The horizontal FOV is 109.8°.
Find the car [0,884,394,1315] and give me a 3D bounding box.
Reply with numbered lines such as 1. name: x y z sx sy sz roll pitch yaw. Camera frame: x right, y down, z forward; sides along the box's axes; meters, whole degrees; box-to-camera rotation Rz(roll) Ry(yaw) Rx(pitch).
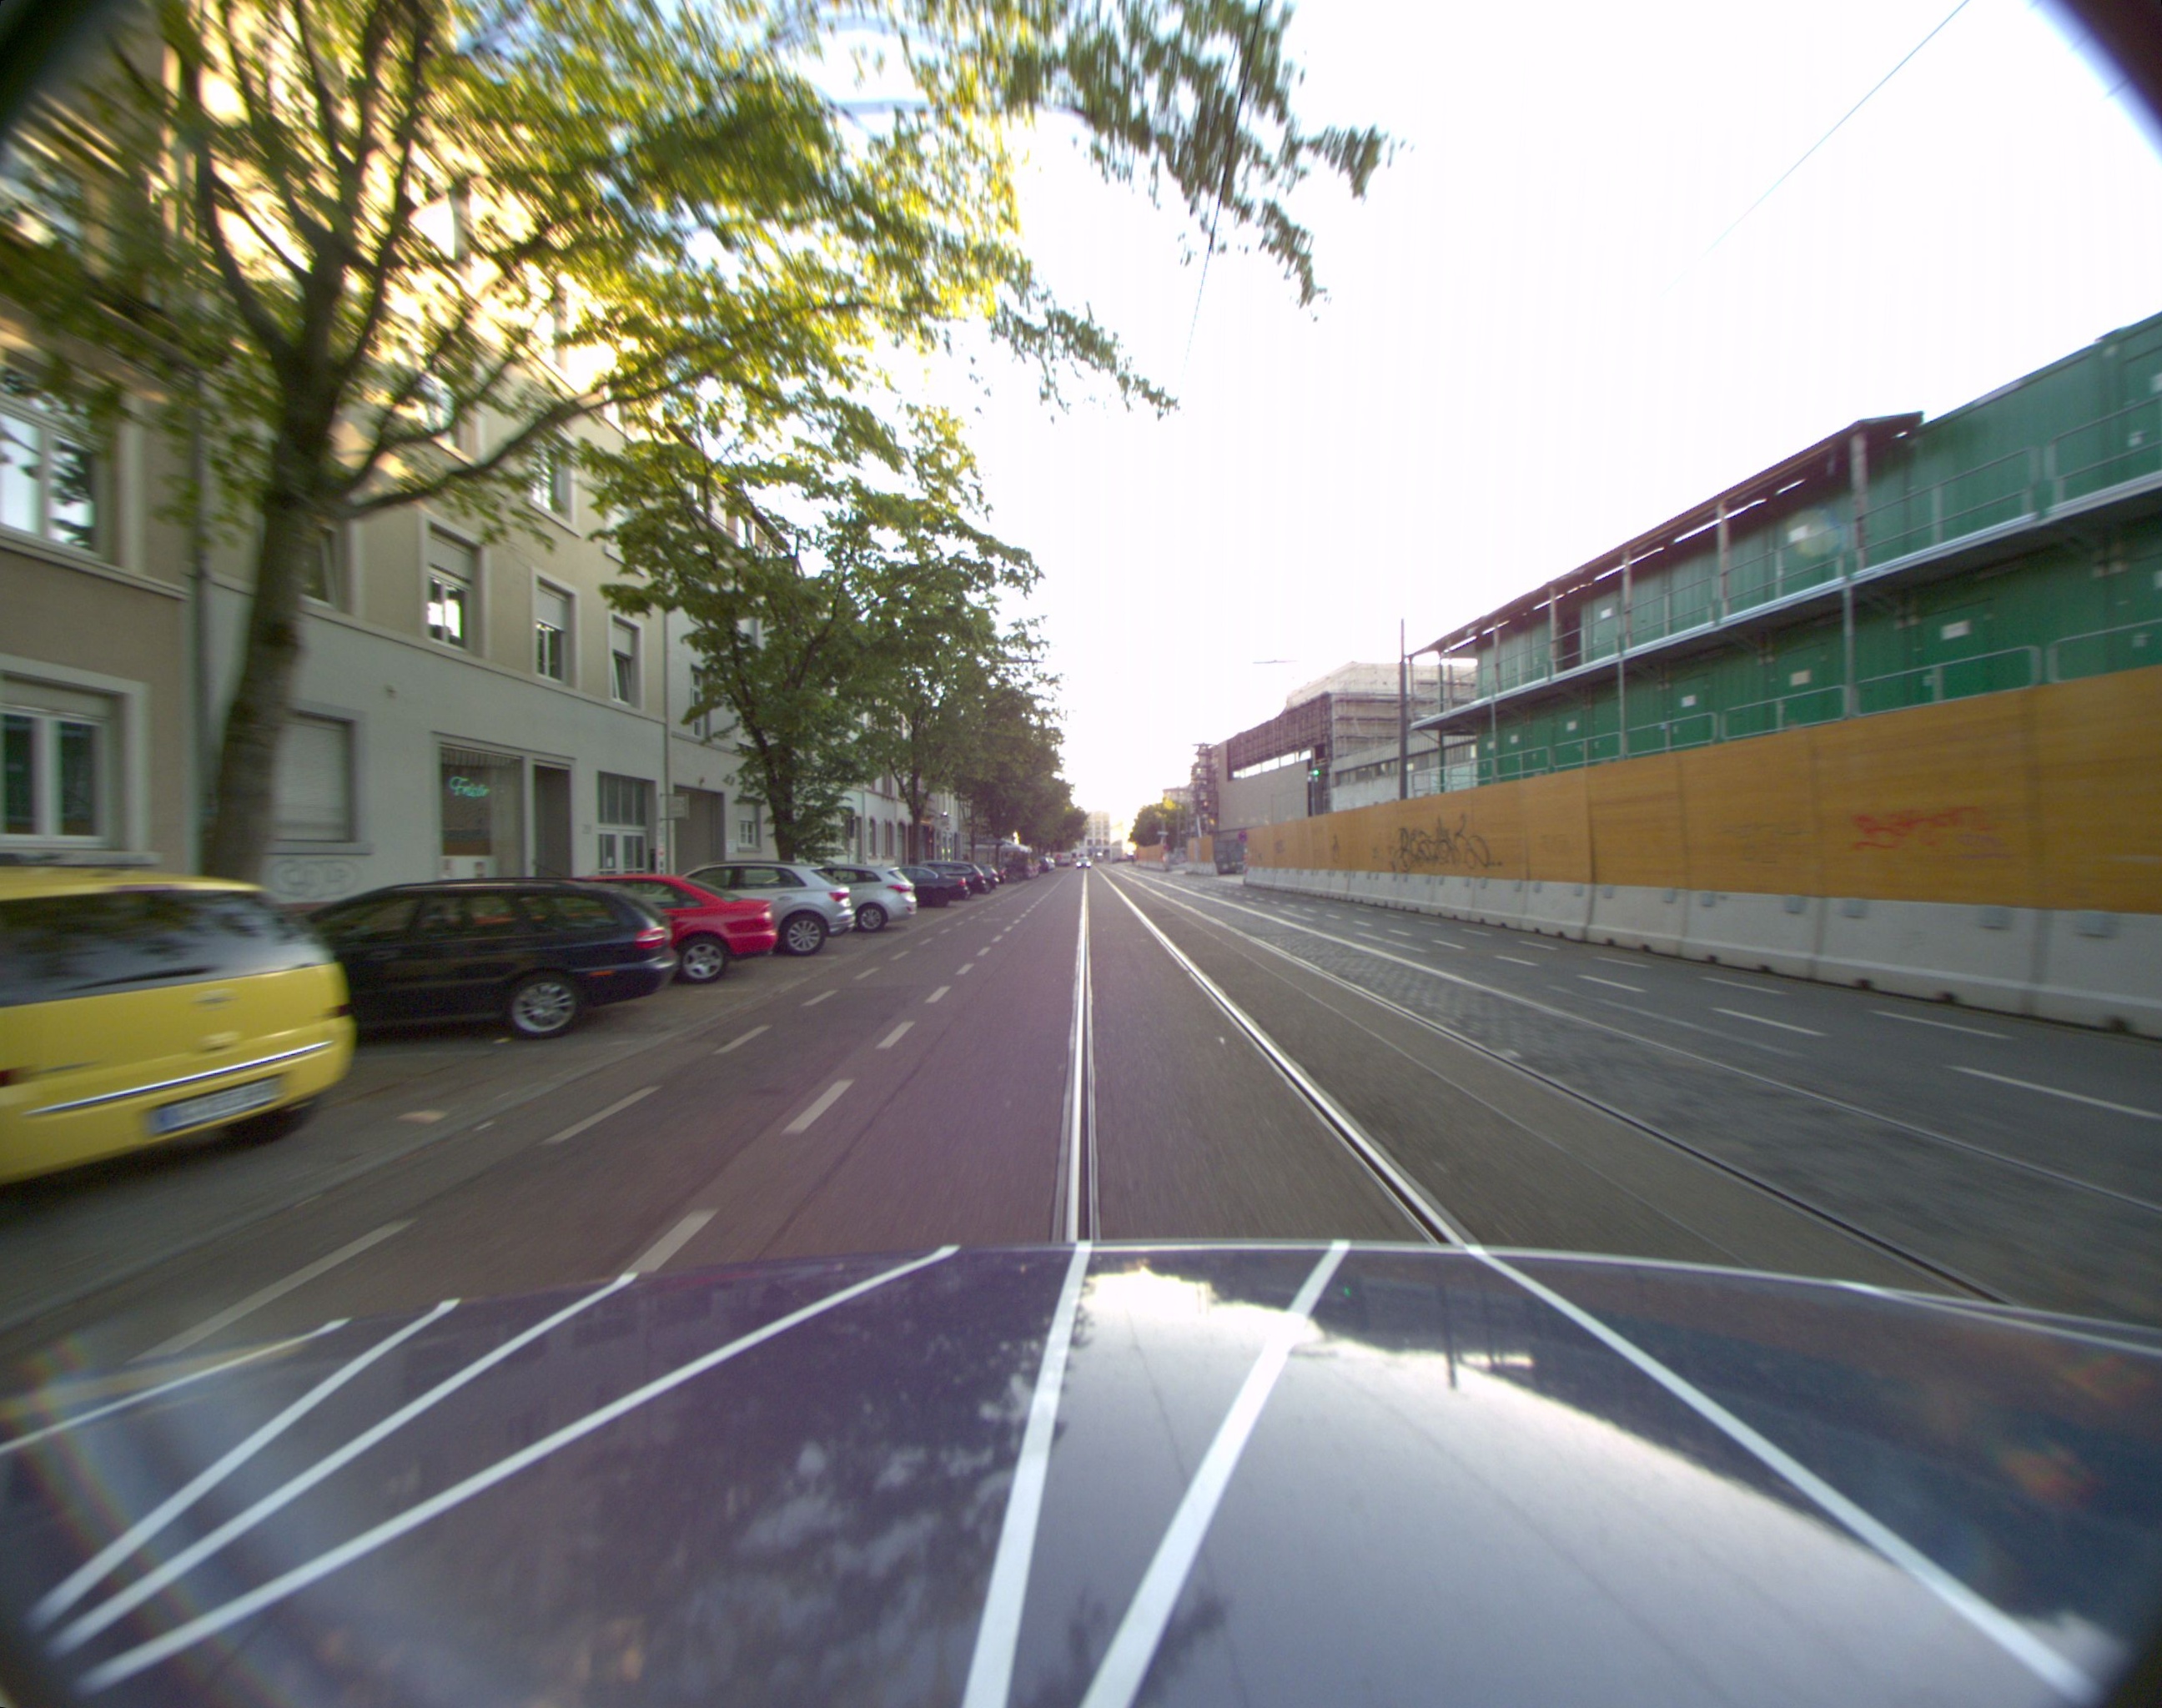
1. car: -6.265 1.006 3.785 3.960 1.610 1.921 1 1 1

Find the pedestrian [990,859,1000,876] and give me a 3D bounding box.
1. pedestrian: -6.555 1.002 57.880 0.553 1.298 0.713 0 1 -27

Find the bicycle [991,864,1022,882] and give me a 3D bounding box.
1. bicycle: -4.757 1.208 48.469 1.891 1.025 0.608 2 0 -1

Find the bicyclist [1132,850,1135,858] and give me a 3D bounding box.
1. bicyclist: 12.203 0.004 176.152 0.770 1.656 1.018 -1 0 0

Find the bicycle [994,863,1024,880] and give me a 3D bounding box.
1. bicycle: -4.795 1.155 50.483 1.891 1.025 0.608 2 0 -1

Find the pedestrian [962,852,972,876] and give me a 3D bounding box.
1. pedestrian: -8.488 0.716 56.611 0.553 1.753 0.851 -2 1 -16

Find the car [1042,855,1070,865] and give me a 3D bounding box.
1. car: -4.499 1.097 136.414 4.613 1.504 1.859 2 -2 -22

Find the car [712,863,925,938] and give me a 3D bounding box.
1. car: -5.727 0.999 17.149 4.265 1.540 2.018 0 0 -10

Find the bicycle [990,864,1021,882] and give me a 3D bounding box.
1. bicycle: -4.734 1.173 47.751 1.891 1.061 0.674 2 0 -1

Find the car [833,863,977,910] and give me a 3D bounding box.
1. car: -5.788 1.009 24.985 4.270 1.384 2.011 0 0 -26

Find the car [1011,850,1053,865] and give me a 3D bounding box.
1. car: -6.243 0.448 96.818 4.984 1.816 2.204 1 0 -18

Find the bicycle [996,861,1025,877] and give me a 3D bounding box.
1. bicycle: -4.832 1.033 51.960 1.891 1.025 0.608 2 0 -1

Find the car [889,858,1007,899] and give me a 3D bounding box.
1. car: -5.222 0.952 29.815 4.135 1.462 2.011 2 0 -24

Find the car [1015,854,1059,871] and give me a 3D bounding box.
1. car: -4.713 0.926 81.731 4.662 1.678 2.007 1 0 -3

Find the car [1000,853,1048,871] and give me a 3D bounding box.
1. car: -5.074 0.674 67.782 3.980 1.544 1.702 1 0 -25

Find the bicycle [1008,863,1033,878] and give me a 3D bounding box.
1. bicycle: -4.320 1.155 54.311 1.683 1.025 0.557 2 0 -1

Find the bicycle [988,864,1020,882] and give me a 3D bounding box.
1. bicycle: -4.701 1.145 46.470 1.908 1.025 0.533 2 0 -1

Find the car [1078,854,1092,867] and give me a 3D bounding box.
1. car: 0.582 0.874 103.684 1.840 1.631 4.169 -4 0 1

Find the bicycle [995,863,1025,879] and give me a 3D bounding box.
1. bicycle: -4.785 1.149 51.275 1.891 1.025 0.608 2 0 -1

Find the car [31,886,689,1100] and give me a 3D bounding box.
1. car: -6.111 1.083 7.242 4.140 1.416 1.916 0 1 -25

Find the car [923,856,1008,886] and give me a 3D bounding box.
1. car: -6.039 0.886 39.573 4.178 1.418 1.821 2 0 -15

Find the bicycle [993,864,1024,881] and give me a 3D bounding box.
1. bicycle: -4.700 1.178 49.124 1.891 1.025 0.608 2 0 -1

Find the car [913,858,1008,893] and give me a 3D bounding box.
1. car: -5.539 0.961 34.799 4.132 1.462 1.821 2 0 -15

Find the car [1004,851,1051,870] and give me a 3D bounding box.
1. car: -5.324 0.616 75.767 4.167 1.796 2.003 1 0 -28

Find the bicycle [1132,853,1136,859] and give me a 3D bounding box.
1. bicycle: 12.202 0.441 176.160 0.770 1.221 1.936 -1 0 0

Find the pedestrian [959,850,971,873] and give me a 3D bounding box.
1. pedestrian: -8.900 0.591 58.350 0.705 1.753 0.713 -2 1 -27

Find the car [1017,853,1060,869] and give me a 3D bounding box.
1. car: -4.678 0.765 84.696 4.661 1.678 2.008 1 0 0

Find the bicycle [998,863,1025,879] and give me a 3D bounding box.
1. bicycle: -4.814 1.163 52.700 1.820 1.025 0.608 2 0 -1

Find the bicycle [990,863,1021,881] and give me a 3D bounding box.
1. bicycle: -4.670 1.125 47.074 1.868 1.025 0.591 2 0 -2

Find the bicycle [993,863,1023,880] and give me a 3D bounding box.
1. bicycle: -4.767 1.128 49.787 1.891 1.025 0.608 2 0 -1

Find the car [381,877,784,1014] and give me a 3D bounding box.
1. car: -6.226 1.060 10.111 4.140 1.416 1.893 0 1 -25

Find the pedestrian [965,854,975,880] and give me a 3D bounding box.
1. pedestrian: -7.762 0.909 53.082 0.552 1.753 0.894 -2 0 0

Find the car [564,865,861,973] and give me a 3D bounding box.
1. car: -6.088 0.996 13.010 4.269 1.551 1.894 0 1 -22

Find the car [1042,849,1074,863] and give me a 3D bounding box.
1. car: -4.227 0.345 142.506 5.650 2.678 2.166 -1 0 -34
